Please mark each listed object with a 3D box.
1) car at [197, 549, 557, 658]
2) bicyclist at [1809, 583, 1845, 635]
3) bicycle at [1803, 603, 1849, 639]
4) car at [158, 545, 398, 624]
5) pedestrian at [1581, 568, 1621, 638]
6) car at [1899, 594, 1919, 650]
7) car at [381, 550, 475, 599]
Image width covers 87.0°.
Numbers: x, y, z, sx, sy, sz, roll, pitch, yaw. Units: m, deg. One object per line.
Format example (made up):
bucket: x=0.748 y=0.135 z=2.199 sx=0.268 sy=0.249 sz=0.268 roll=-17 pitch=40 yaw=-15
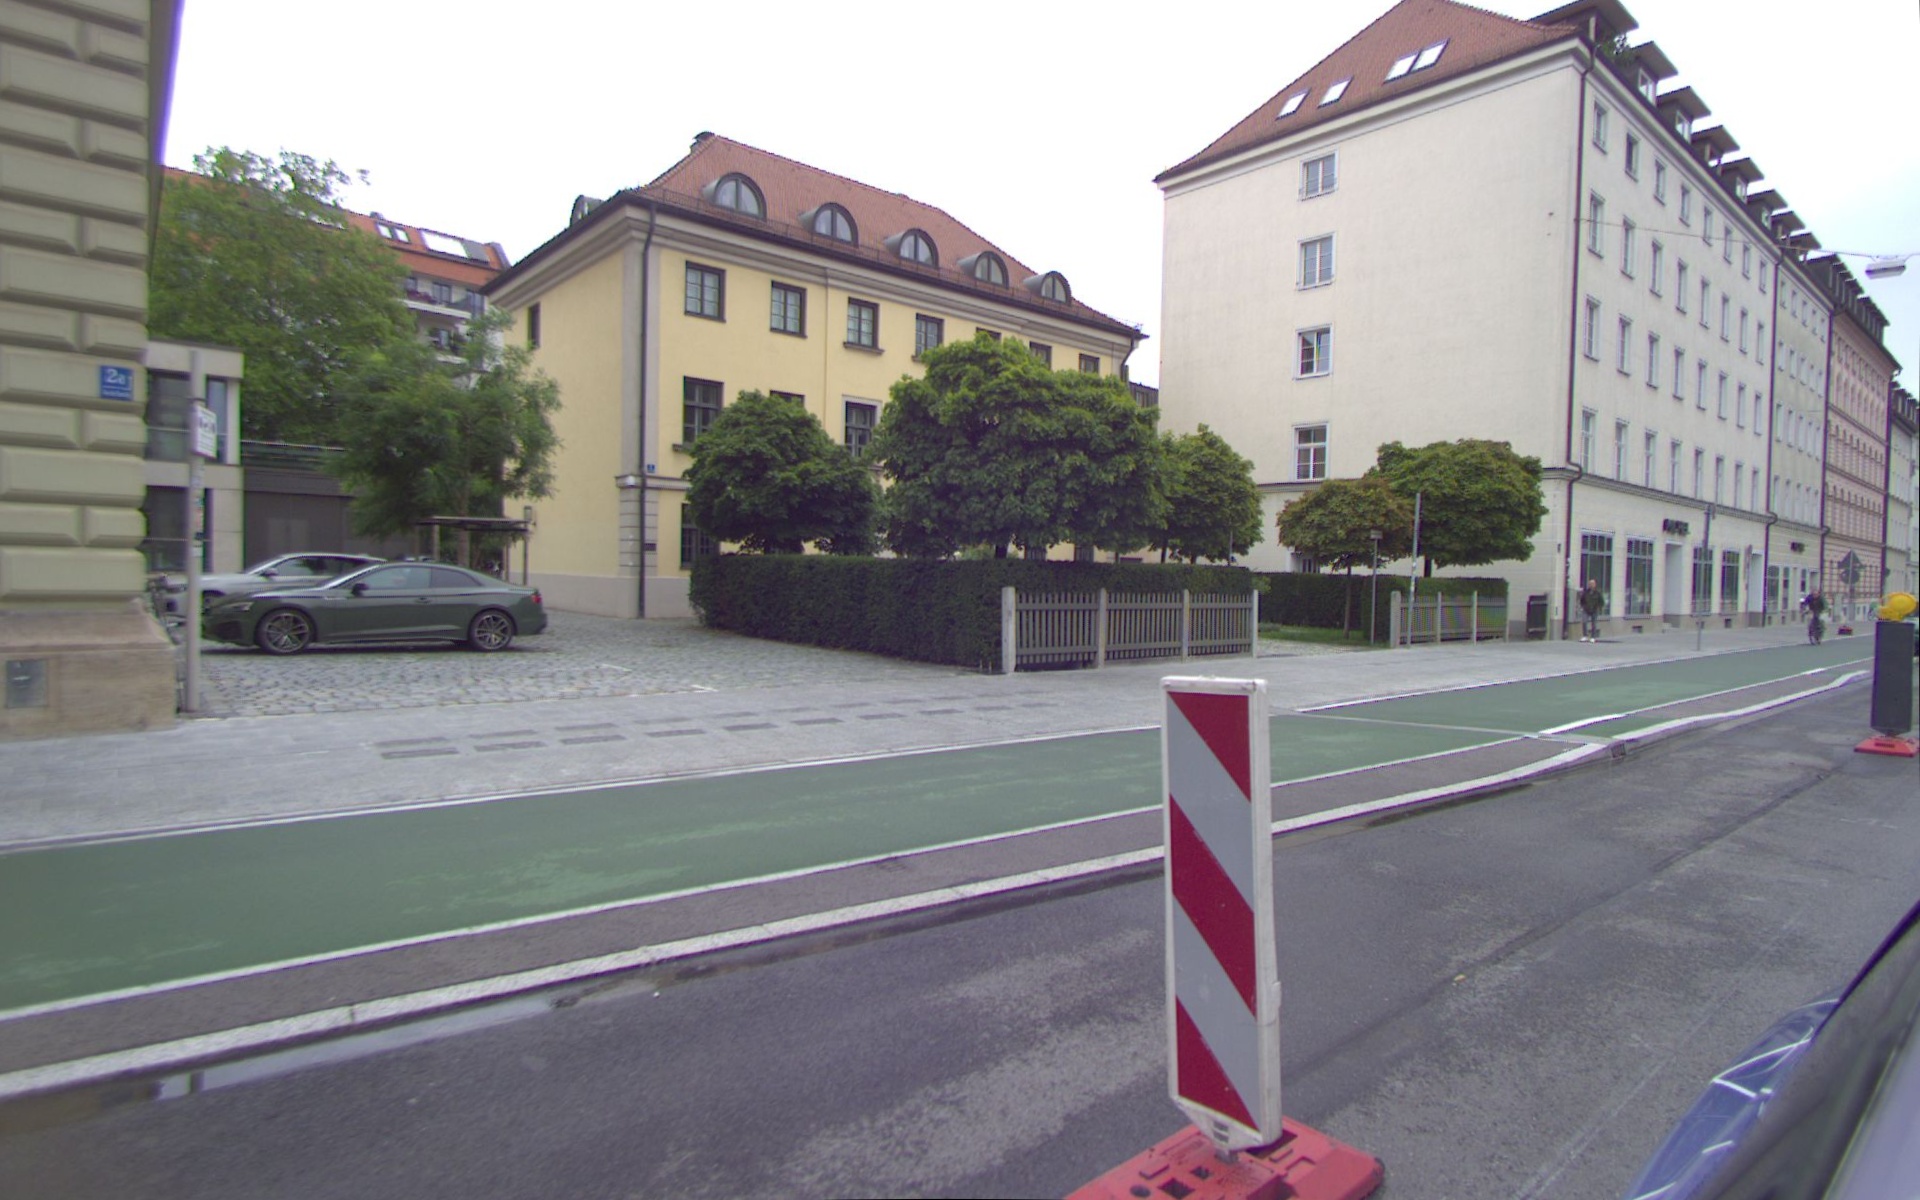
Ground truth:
car: x=-8.852 y=0.007 z=15.608 sx=4.549 sy=1.444 sz=1.861 roll=0 pitch=2 yaw=-41
bicyclist: x=26.958 y=0.270 z=31.468 sx=0.843 sy=1.572 sz=0.723 roll=0 pitch=0 yaw=-41
bicycle: x=26.907 y=0.629 z=31.426 sx=2.487 sy=1.045 sz=0.750 roll=0 pitch=1 yaw=-41
car: x=-13.541 y=-0.315 z=20.204 sx=3.809 sy=1.444 sz=1.694 roll=0 pitch=2 yaw=-41
pedestrian: x=17.899 y=0.070 z=28.246 sx=0.811 sy=1.897 sz=0.655 roll=0 pitch=3 yaw=-41
car: x=25.048 y=0.549 z=25.395 sx=3.930 sy=1.337 sz=1.738 roll=0 pitch=1 yaw=-41
car: x=-16.860 y=-0.813 z=31.982 sx=1.830 sy=1.444 sz=4.323 roll=0 pitch=2 yaw=-39
